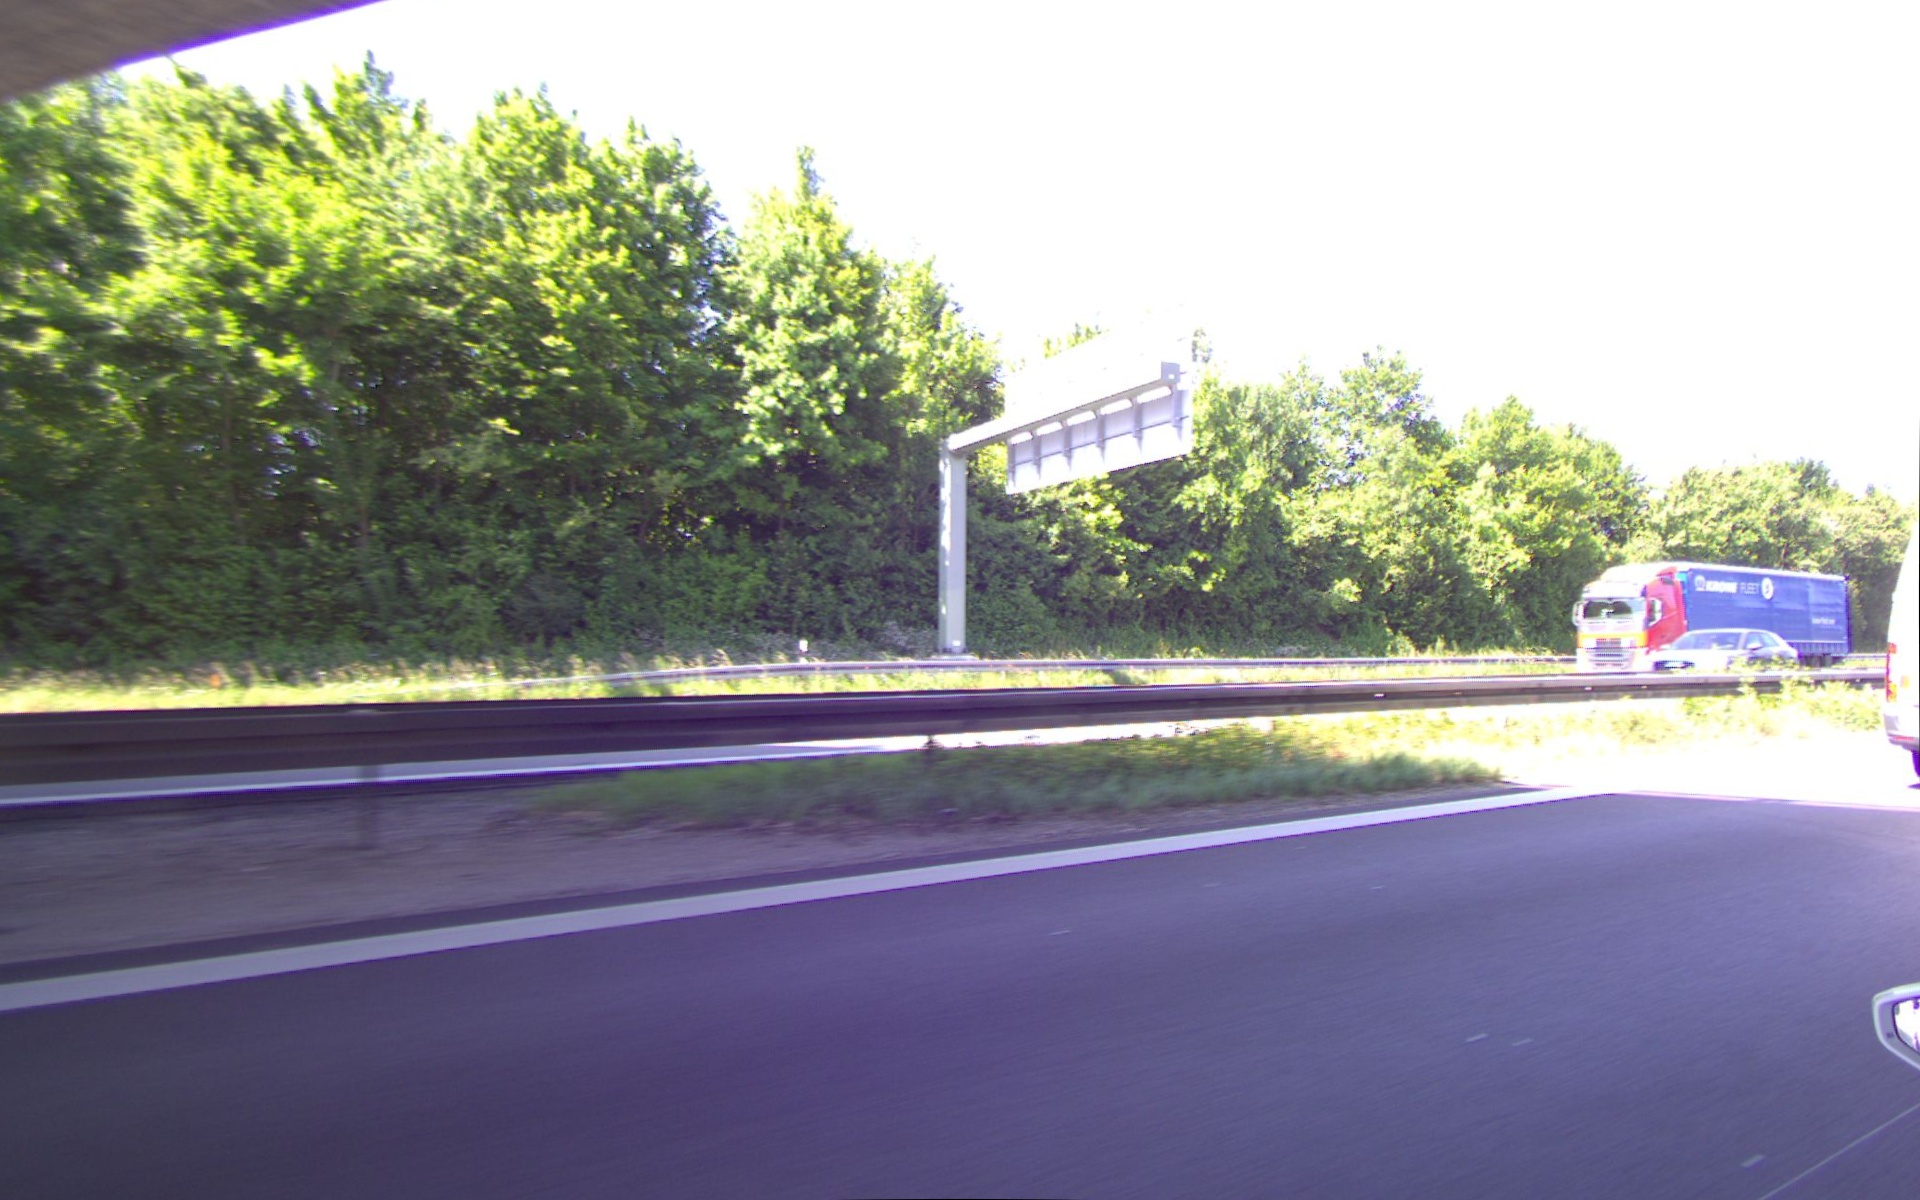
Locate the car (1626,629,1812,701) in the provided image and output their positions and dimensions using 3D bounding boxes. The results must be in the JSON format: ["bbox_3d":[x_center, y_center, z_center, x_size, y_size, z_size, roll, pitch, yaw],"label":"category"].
[{"bbox_3d":[17.462,1.435,23.069,4.382,1.503,1.873,1,-2,-30],"label":"car"}]

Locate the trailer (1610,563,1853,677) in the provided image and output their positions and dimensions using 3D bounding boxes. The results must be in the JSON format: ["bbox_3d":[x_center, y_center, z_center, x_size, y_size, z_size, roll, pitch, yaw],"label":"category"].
[{"bbox_3d":[31.410,0.915,40.557,13.385,4.093,2.773,1,-3,-30],"label":"trailer"}]

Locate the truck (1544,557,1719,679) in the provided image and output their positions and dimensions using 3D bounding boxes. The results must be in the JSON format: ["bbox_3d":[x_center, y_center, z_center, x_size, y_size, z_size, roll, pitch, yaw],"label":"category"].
[{"bbox_3d":[24.463,0.745,36.556,6.135,4.113,2.773,1,-3,-30],"label":"truck"}]

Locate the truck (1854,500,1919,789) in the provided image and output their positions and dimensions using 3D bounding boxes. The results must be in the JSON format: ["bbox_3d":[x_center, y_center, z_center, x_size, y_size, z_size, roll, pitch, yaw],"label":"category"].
[{"bbox_3d":[11.683,0.470,10.069,6.611,2.576,1.985,1,0,-29],"label":"truck"}]
